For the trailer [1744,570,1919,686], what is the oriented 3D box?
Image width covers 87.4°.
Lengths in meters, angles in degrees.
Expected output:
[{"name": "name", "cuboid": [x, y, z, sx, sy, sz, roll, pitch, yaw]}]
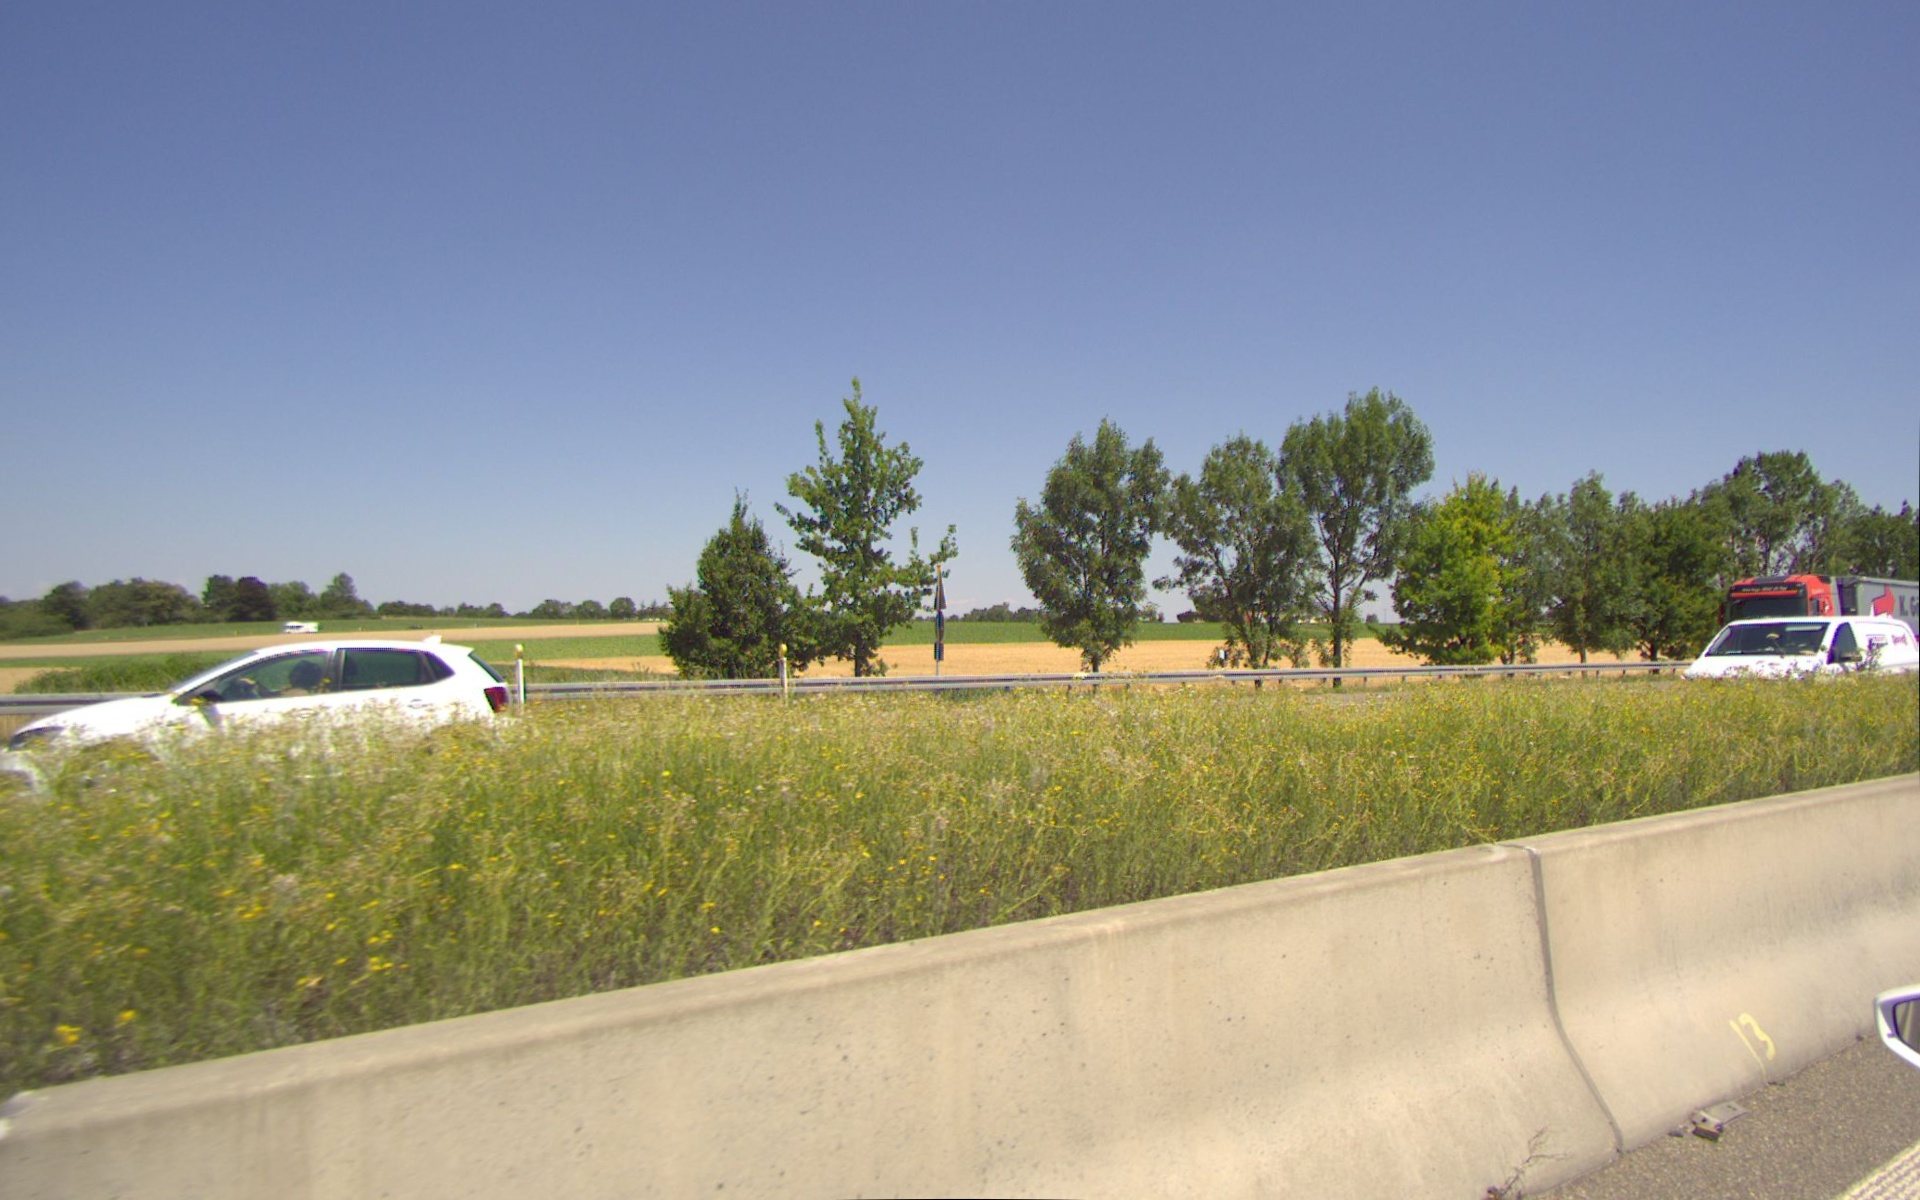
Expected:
[{"name": "trailer", "cuboid": [34.077, 1.110, 37.908, 12.044, 3.905, 2.843, 1, -3, -31]}]

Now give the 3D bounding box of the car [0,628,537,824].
[{"name": "car", "cuboid": [-6.092, 1.017, 9.302, 3.820, 1.483, 1.609, 1, -2, -31]}]

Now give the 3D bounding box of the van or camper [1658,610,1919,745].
[{"name": "van or camper", "cuboid": [14.038, 1.194, 16.795, 5.142, 1.958, 1.983, 1, -2, -31]}]

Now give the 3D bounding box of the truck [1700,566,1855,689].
[{"name": "truck", "cuboid": [27.762, 0.964, 34.138, 3.953, 3.905, 2.843, 1, -3, -30]}]
